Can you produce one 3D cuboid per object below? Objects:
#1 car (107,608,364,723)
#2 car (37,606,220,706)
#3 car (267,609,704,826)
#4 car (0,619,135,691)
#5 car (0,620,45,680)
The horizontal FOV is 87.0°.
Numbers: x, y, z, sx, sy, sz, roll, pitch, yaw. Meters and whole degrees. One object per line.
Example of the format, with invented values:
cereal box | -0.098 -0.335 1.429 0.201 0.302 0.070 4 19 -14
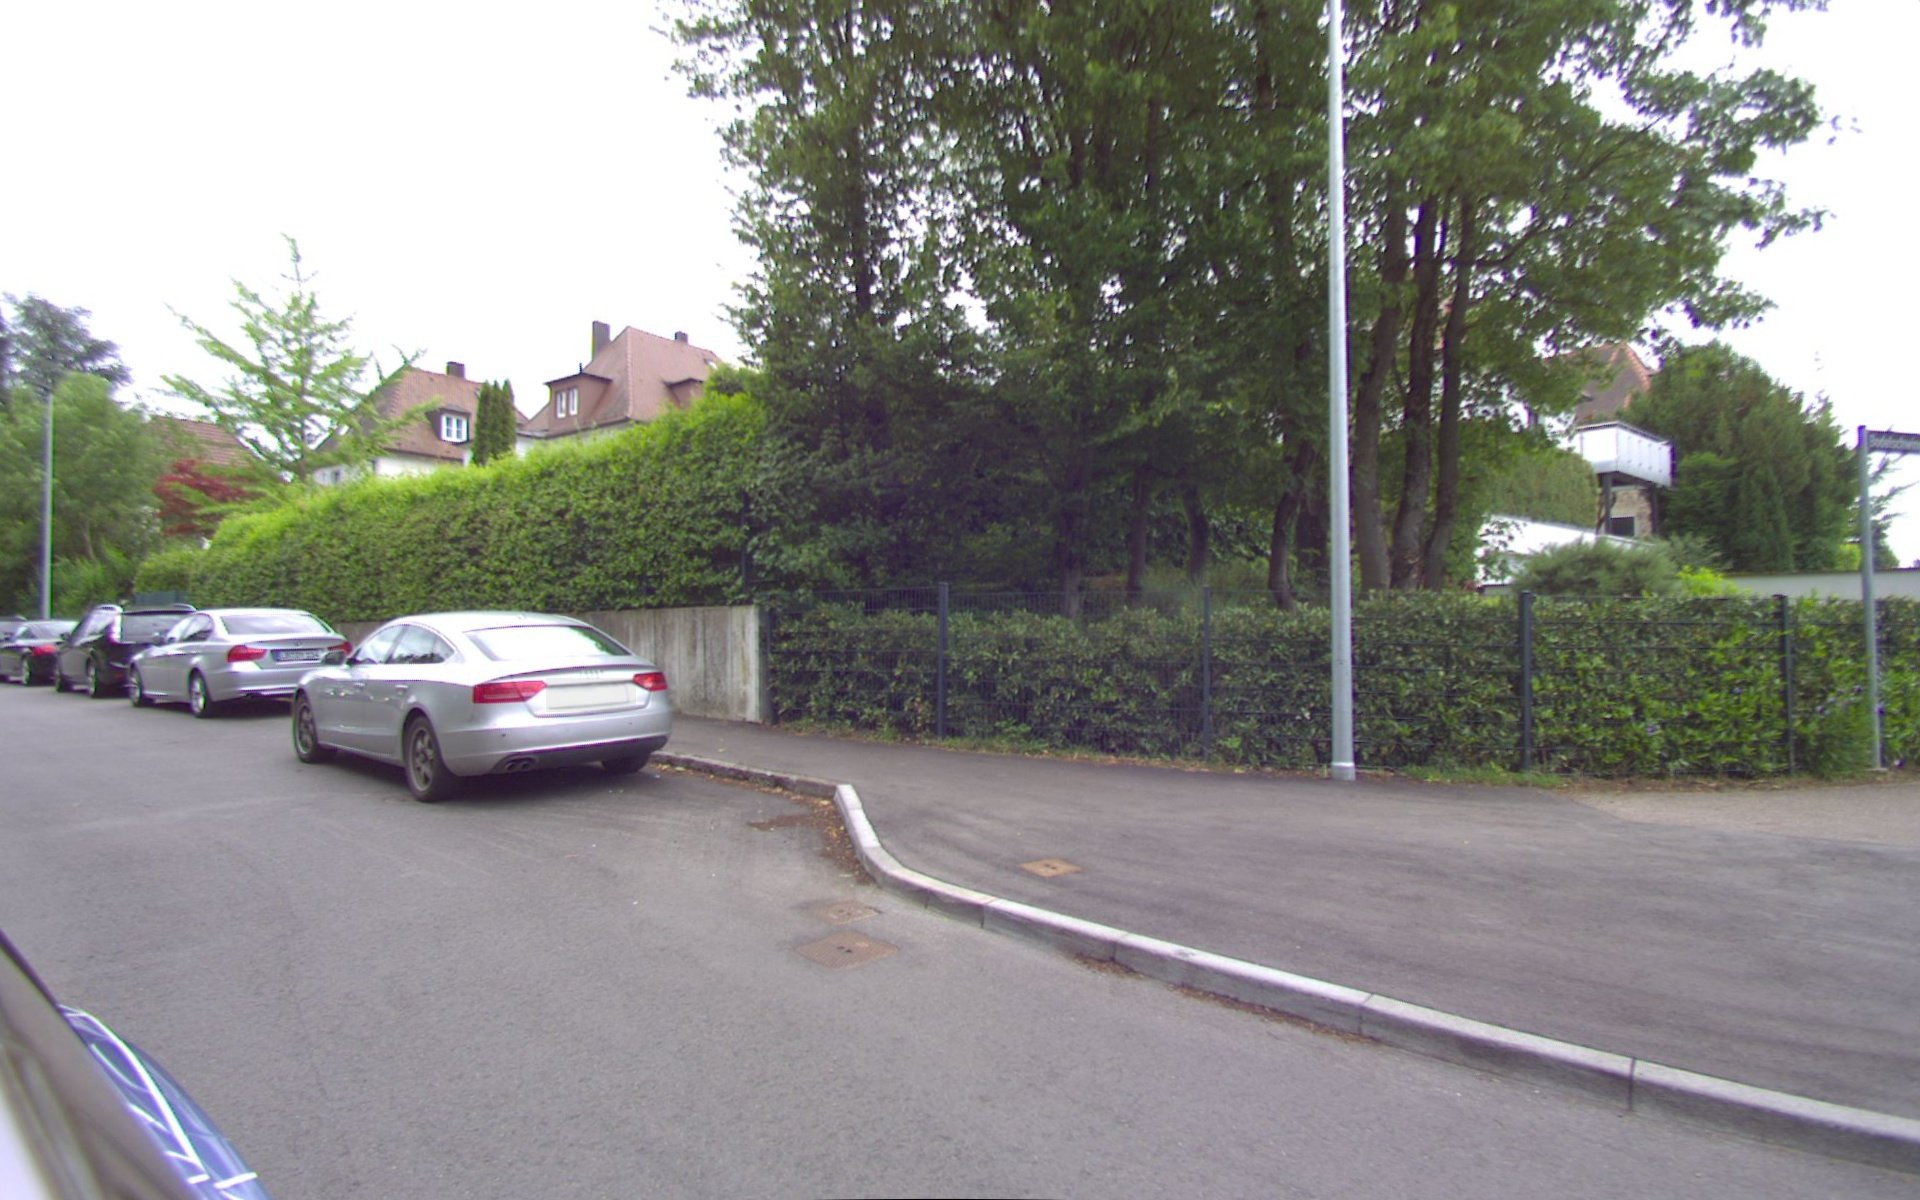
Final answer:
car | -10.412 0.842 14.441 4.333 1.384 1.759 -1 0 37
car | -14.777 0.909 17.903 4.469 1.545 1.640 -1 0 39
car | -4.276 0.803 8.759 4.443 1.384 1.812 -1 0 41
car | -19.208 1.095 21.342 4.096 1.351 1.697 -1 0 34
car | -24.253 1.200 24.870 4.653 1.395 1.703 -1 -1 36
